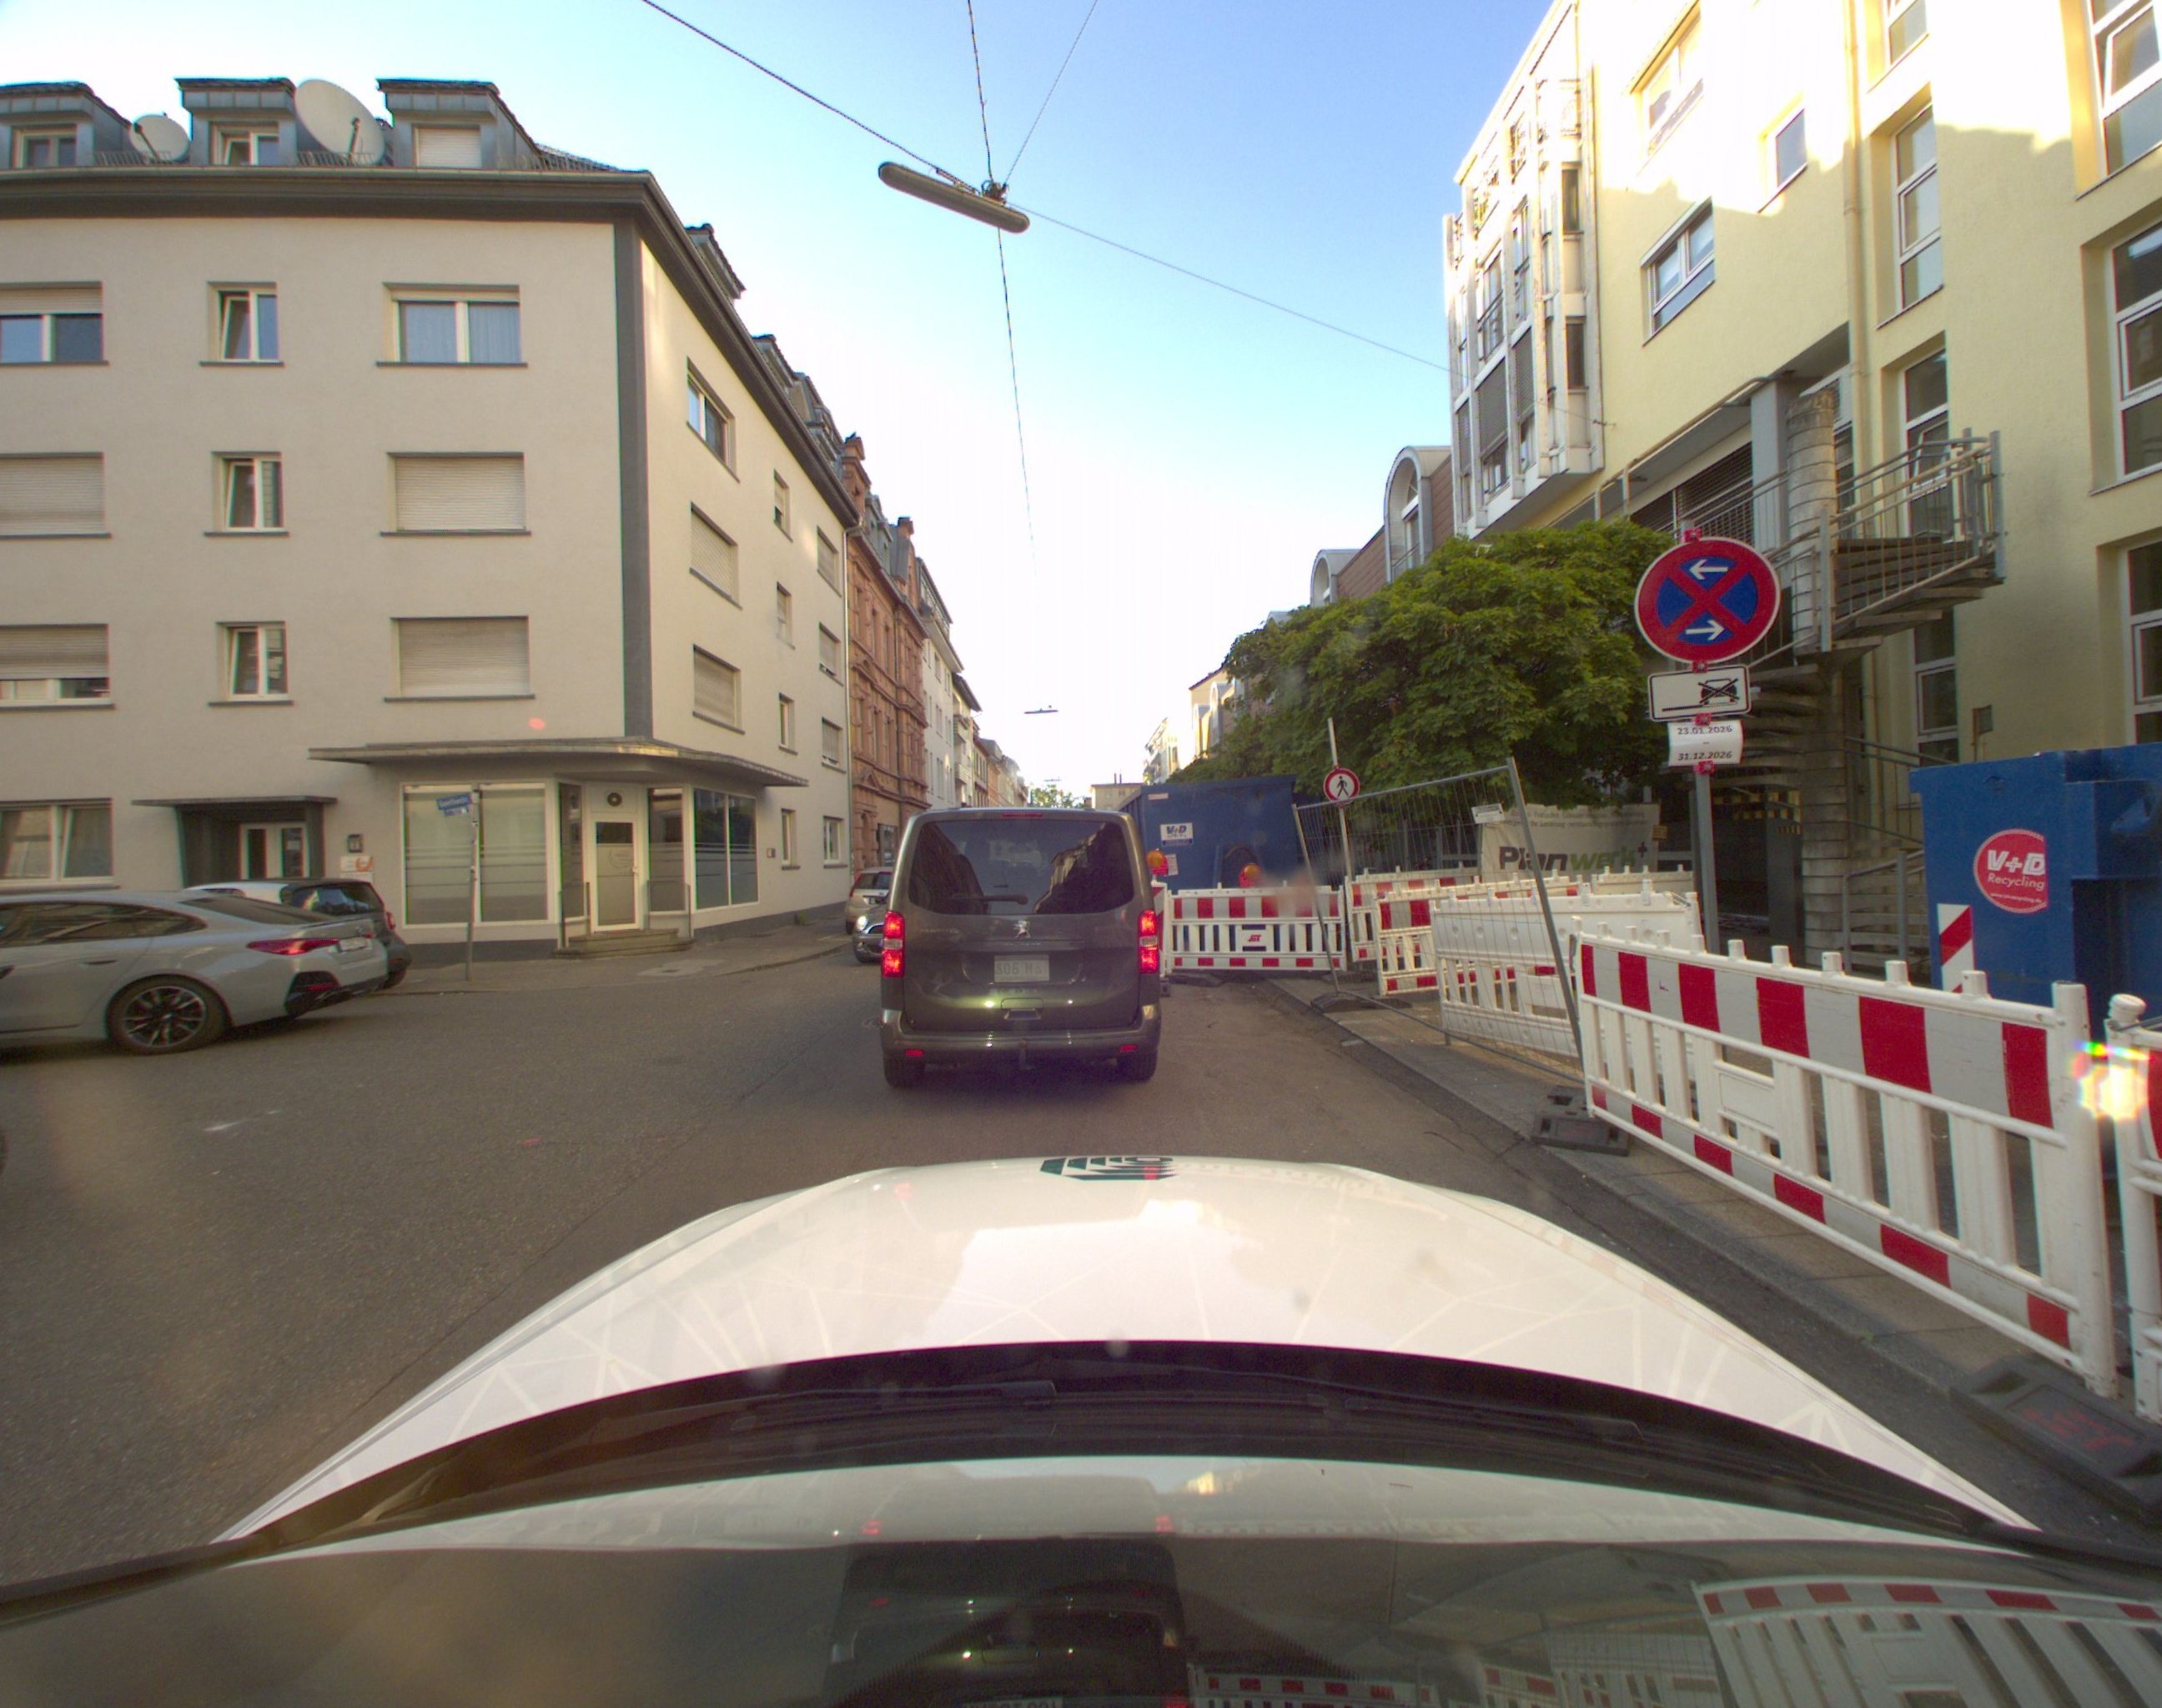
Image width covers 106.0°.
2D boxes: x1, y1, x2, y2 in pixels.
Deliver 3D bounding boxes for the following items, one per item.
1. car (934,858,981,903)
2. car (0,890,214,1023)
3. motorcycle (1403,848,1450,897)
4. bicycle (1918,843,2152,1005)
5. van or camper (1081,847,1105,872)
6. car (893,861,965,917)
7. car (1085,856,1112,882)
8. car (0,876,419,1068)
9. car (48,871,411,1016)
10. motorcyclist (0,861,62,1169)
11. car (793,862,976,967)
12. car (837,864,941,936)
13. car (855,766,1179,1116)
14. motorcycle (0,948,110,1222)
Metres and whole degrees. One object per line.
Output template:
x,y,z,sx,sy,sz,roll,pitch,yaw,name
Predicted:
-4.671,0.977,30.973,1.392,1.588,2.792,-1,0,-2,car
-14.314,1.279,10.408,4.238,1.453,1.967,-1,0,-2,car
9.204,0.476,21.780,0.863,1.222,2.468,-3,-1,17,motorcycle
7.995,0.552,6.836,1.646,1.268,0.547,0,-1,-12,bicycle
1.270,0.639,90.366,2.094,2.602,7.505,-3,0,-2,van or camper
-4.443,0.989,24.301,1.551,1.508,3.595,1,0,-2,car
1.238,1.022,57.533,1.742,1.683,4.526,-1,0,1,car
-9.435,1.034,7.585,4.670,1.486,1.984,-1,0,-24,car
-10.490,1.044,10.213,2.746,1.566,1.648,-1,0,-1,car
-6.053,0.834,4.000,0.991,1.567,0.876,0,1,7,motorcyclist
-3.157,0.907,13.983,1.986,1.486,4.002,-1,0,2,car
-4.261,0.971,18.605,1.628,1.430,3.552,-1,0,-2,car
-0.436,0.525,6.963,1.853,2.013,3.997,-4,0,-2,car
-6.001,1.134,3.966,1.684,1.249,0.808,0,1,6,motorcycle
